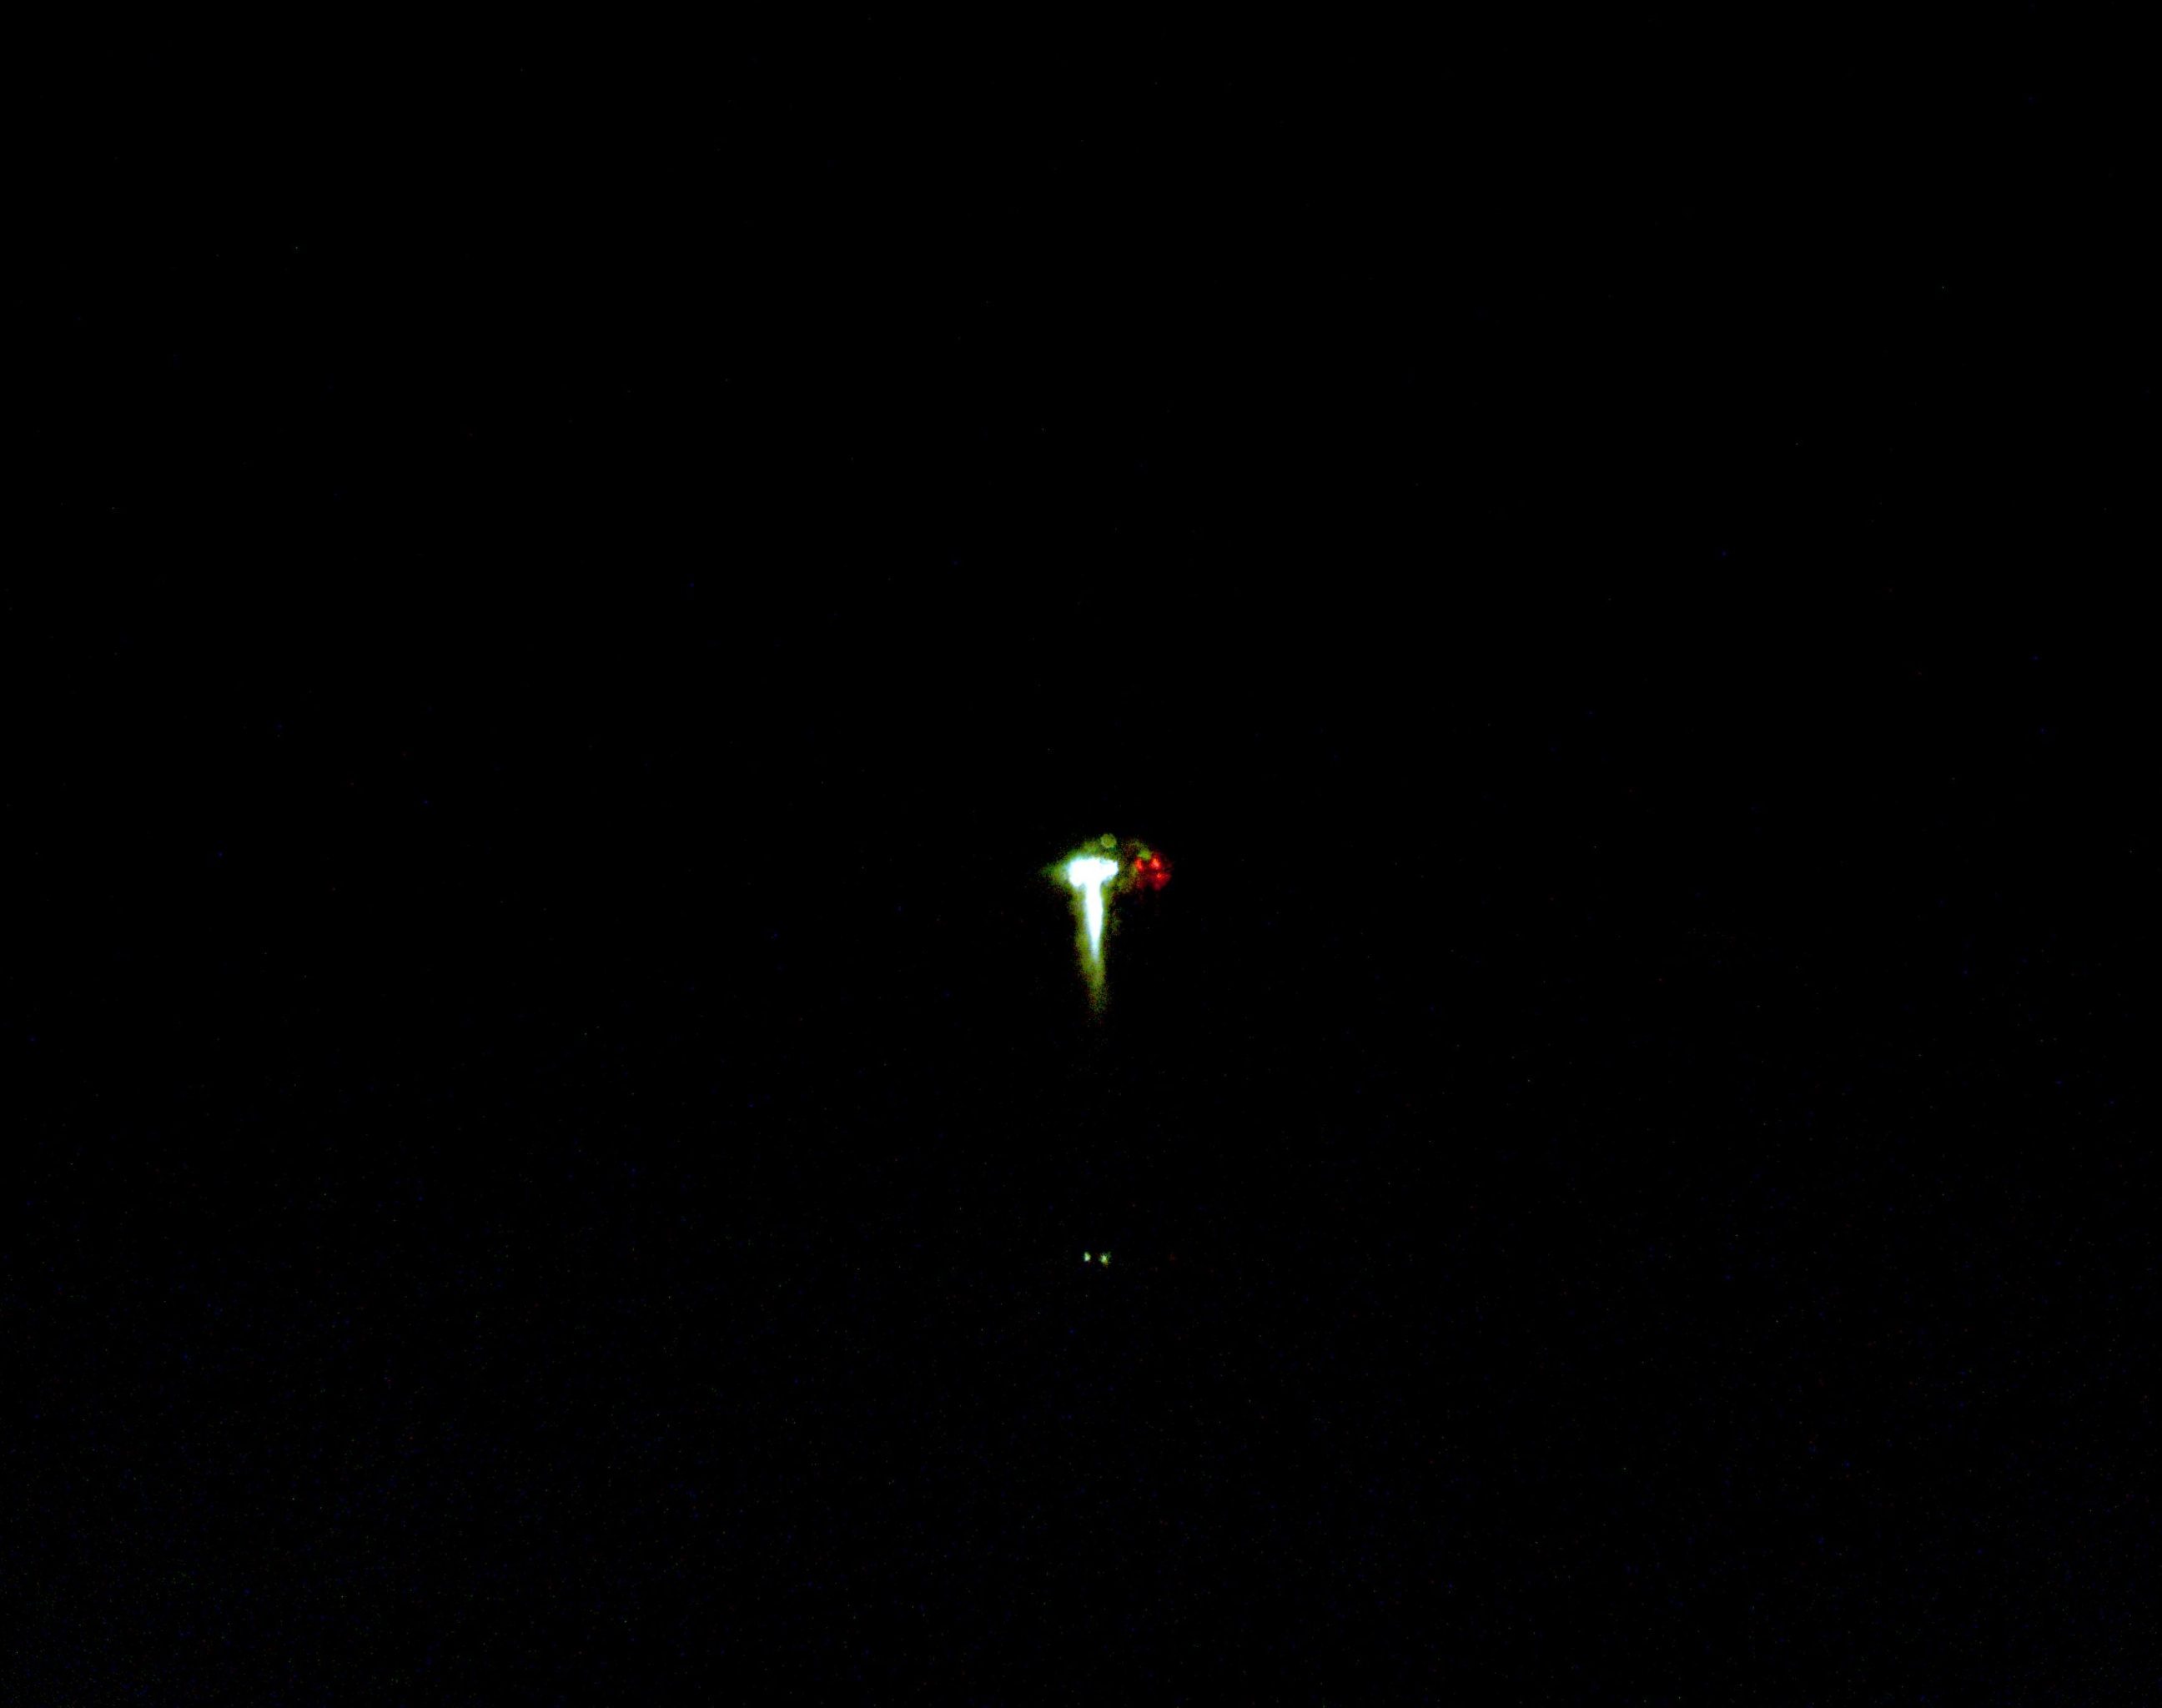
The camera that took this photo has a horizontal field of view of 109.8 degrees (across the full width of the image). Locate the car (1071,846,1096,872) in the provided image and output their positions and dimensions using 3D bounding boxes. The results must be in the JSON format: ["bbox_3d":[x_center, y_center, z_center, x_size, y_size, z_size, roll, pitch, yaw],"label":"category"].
[{"bbox_3d":[0.211,0.388,64.520,1.998,2.002,4.000,-2,1,1],"label":"car"}]

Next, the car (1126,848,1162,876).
[{"bbox_3d":[4.180,0.498,51.071,2.112,1.702,3.999,-2,1,1],"label":"car"}]
